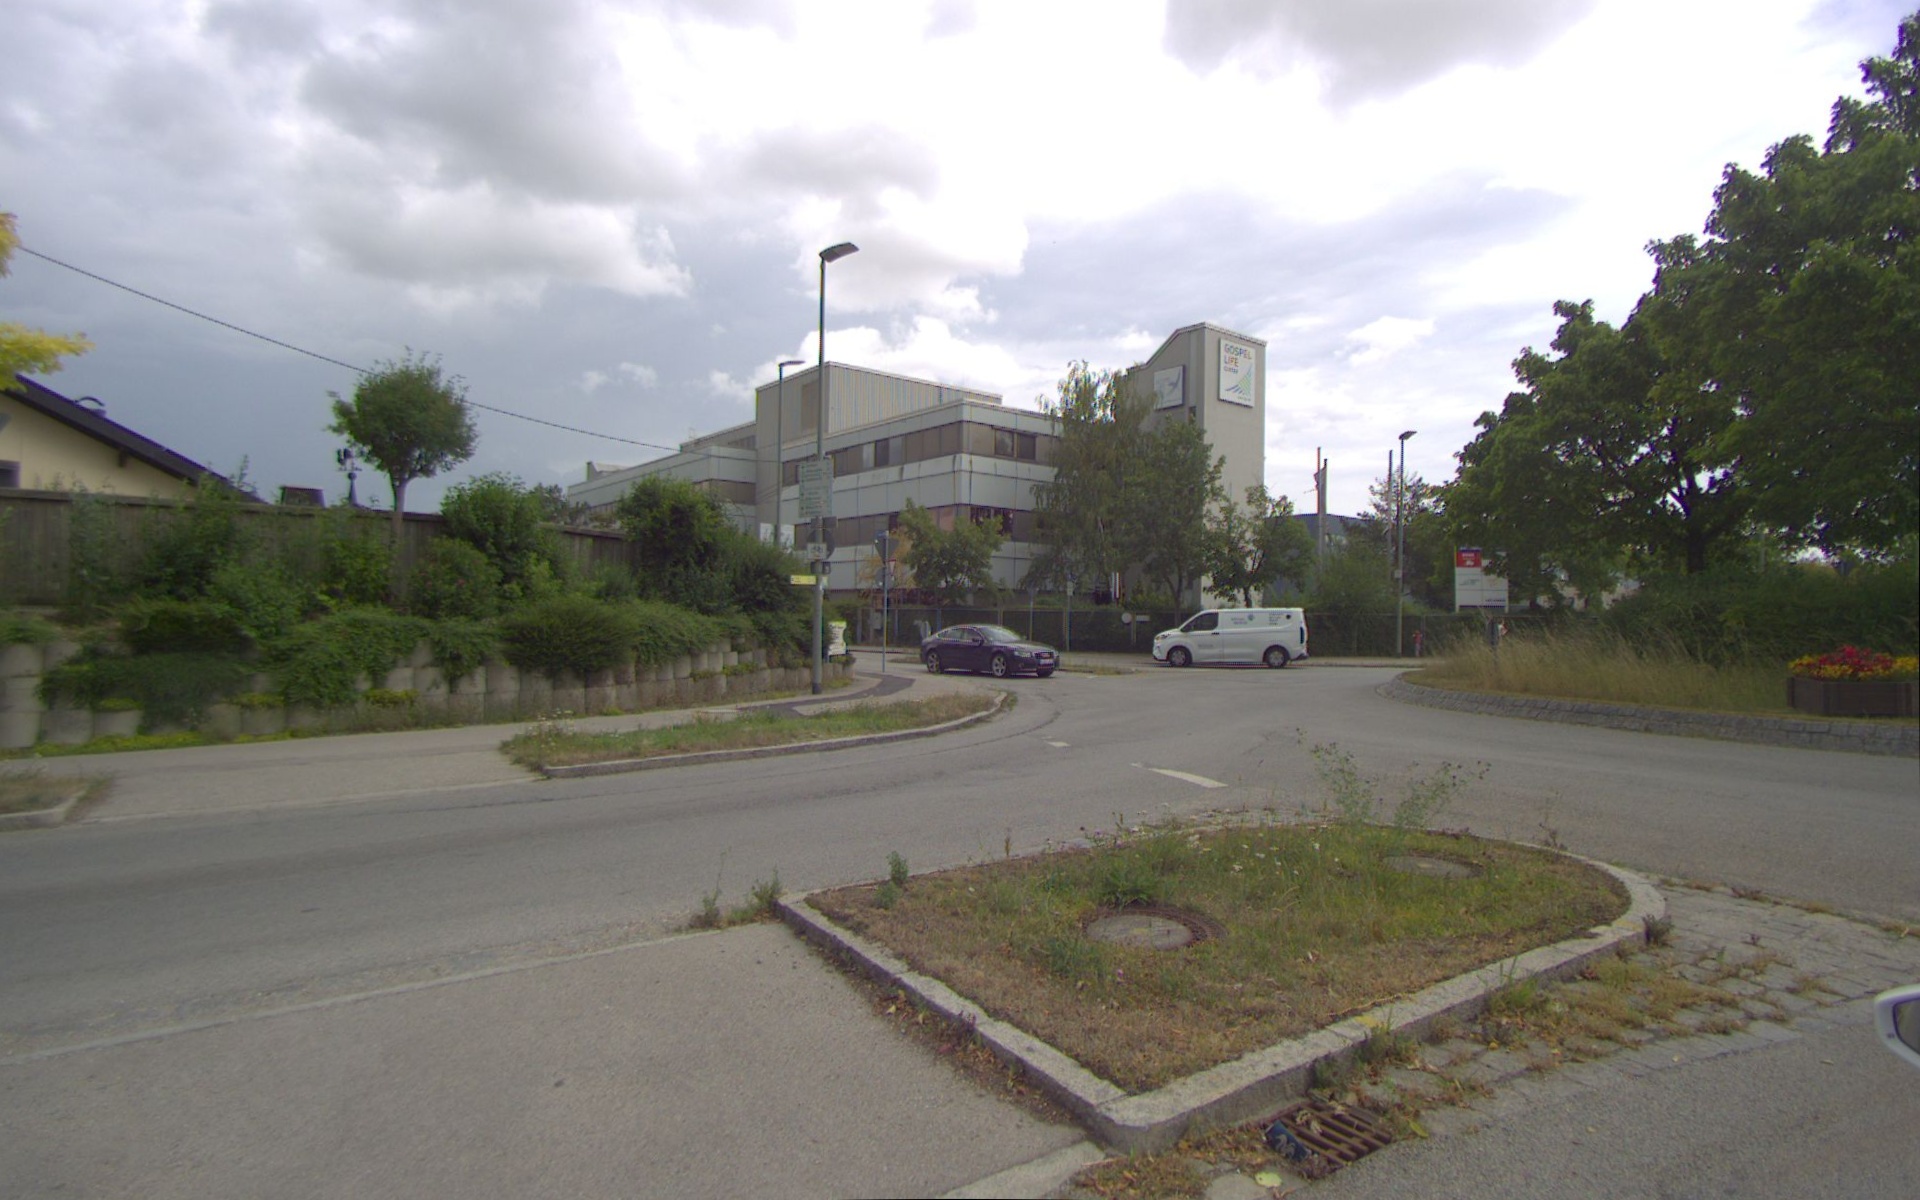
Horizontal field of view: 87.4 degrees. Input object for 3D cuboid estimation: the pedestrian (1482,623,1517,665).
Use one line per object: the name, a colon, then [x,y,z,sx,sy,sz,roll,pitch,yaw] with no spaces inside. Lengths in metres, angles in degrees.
pedestrian: [19.141,1.550,35.622,0.933,1.488,0.630,0,-1,-17]

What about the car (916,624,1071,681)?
car: [0.839,1.373,27.742,1.919,1.365,4.421,1,-1,-38]

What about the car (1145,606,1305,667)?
car: [8.797,1.196,33.282,4.972,1.930,2.000,-1,-1,19]
